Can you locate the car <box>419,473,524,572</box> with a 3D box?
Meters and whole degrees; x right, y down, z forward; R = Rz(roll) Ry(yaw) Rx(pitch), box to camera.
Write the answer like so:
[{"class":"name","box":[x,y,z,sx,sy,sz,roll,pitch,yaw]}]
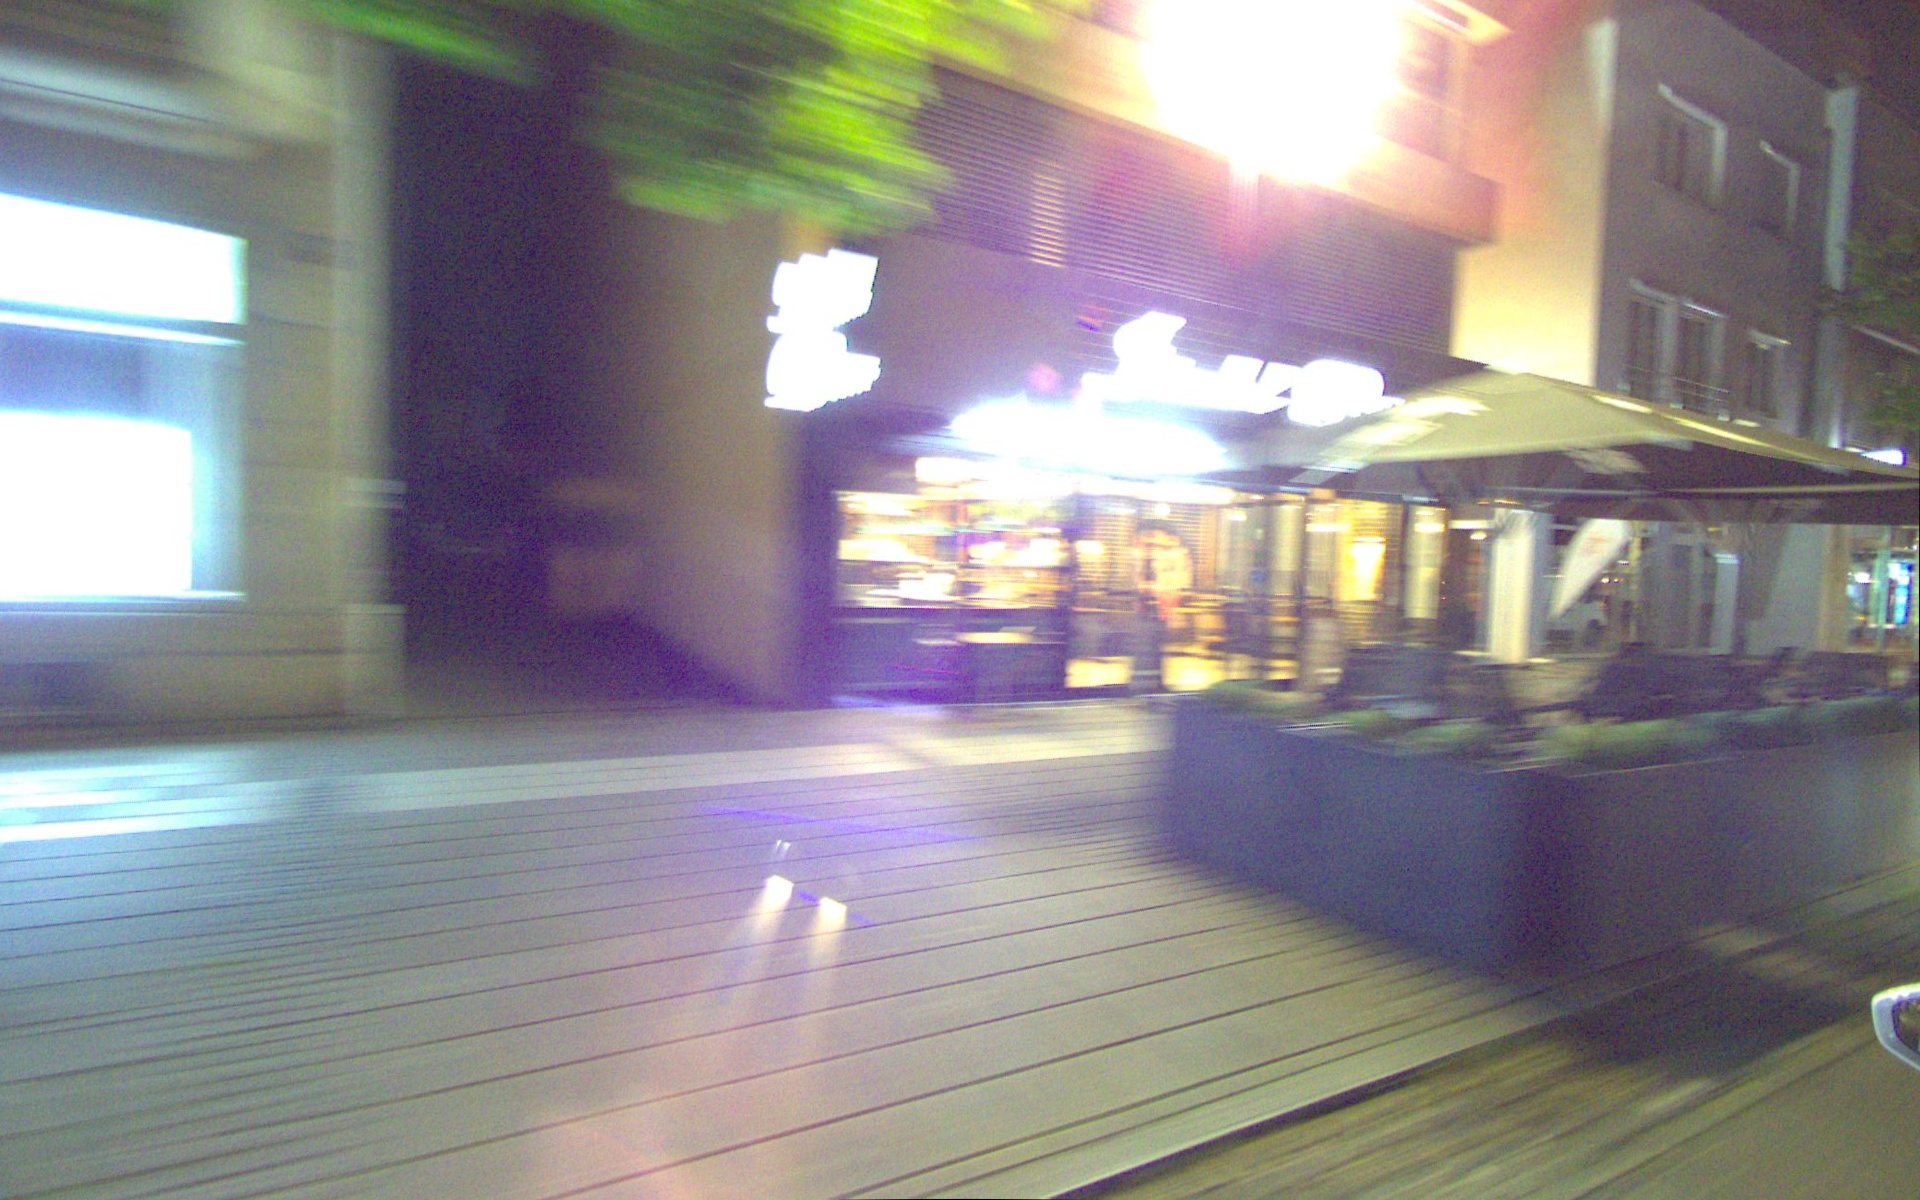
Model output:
[{"class":"car","box":[-11.478,-1.790,23.451,1.976,2.041,3.968,1,4,-29]}]
